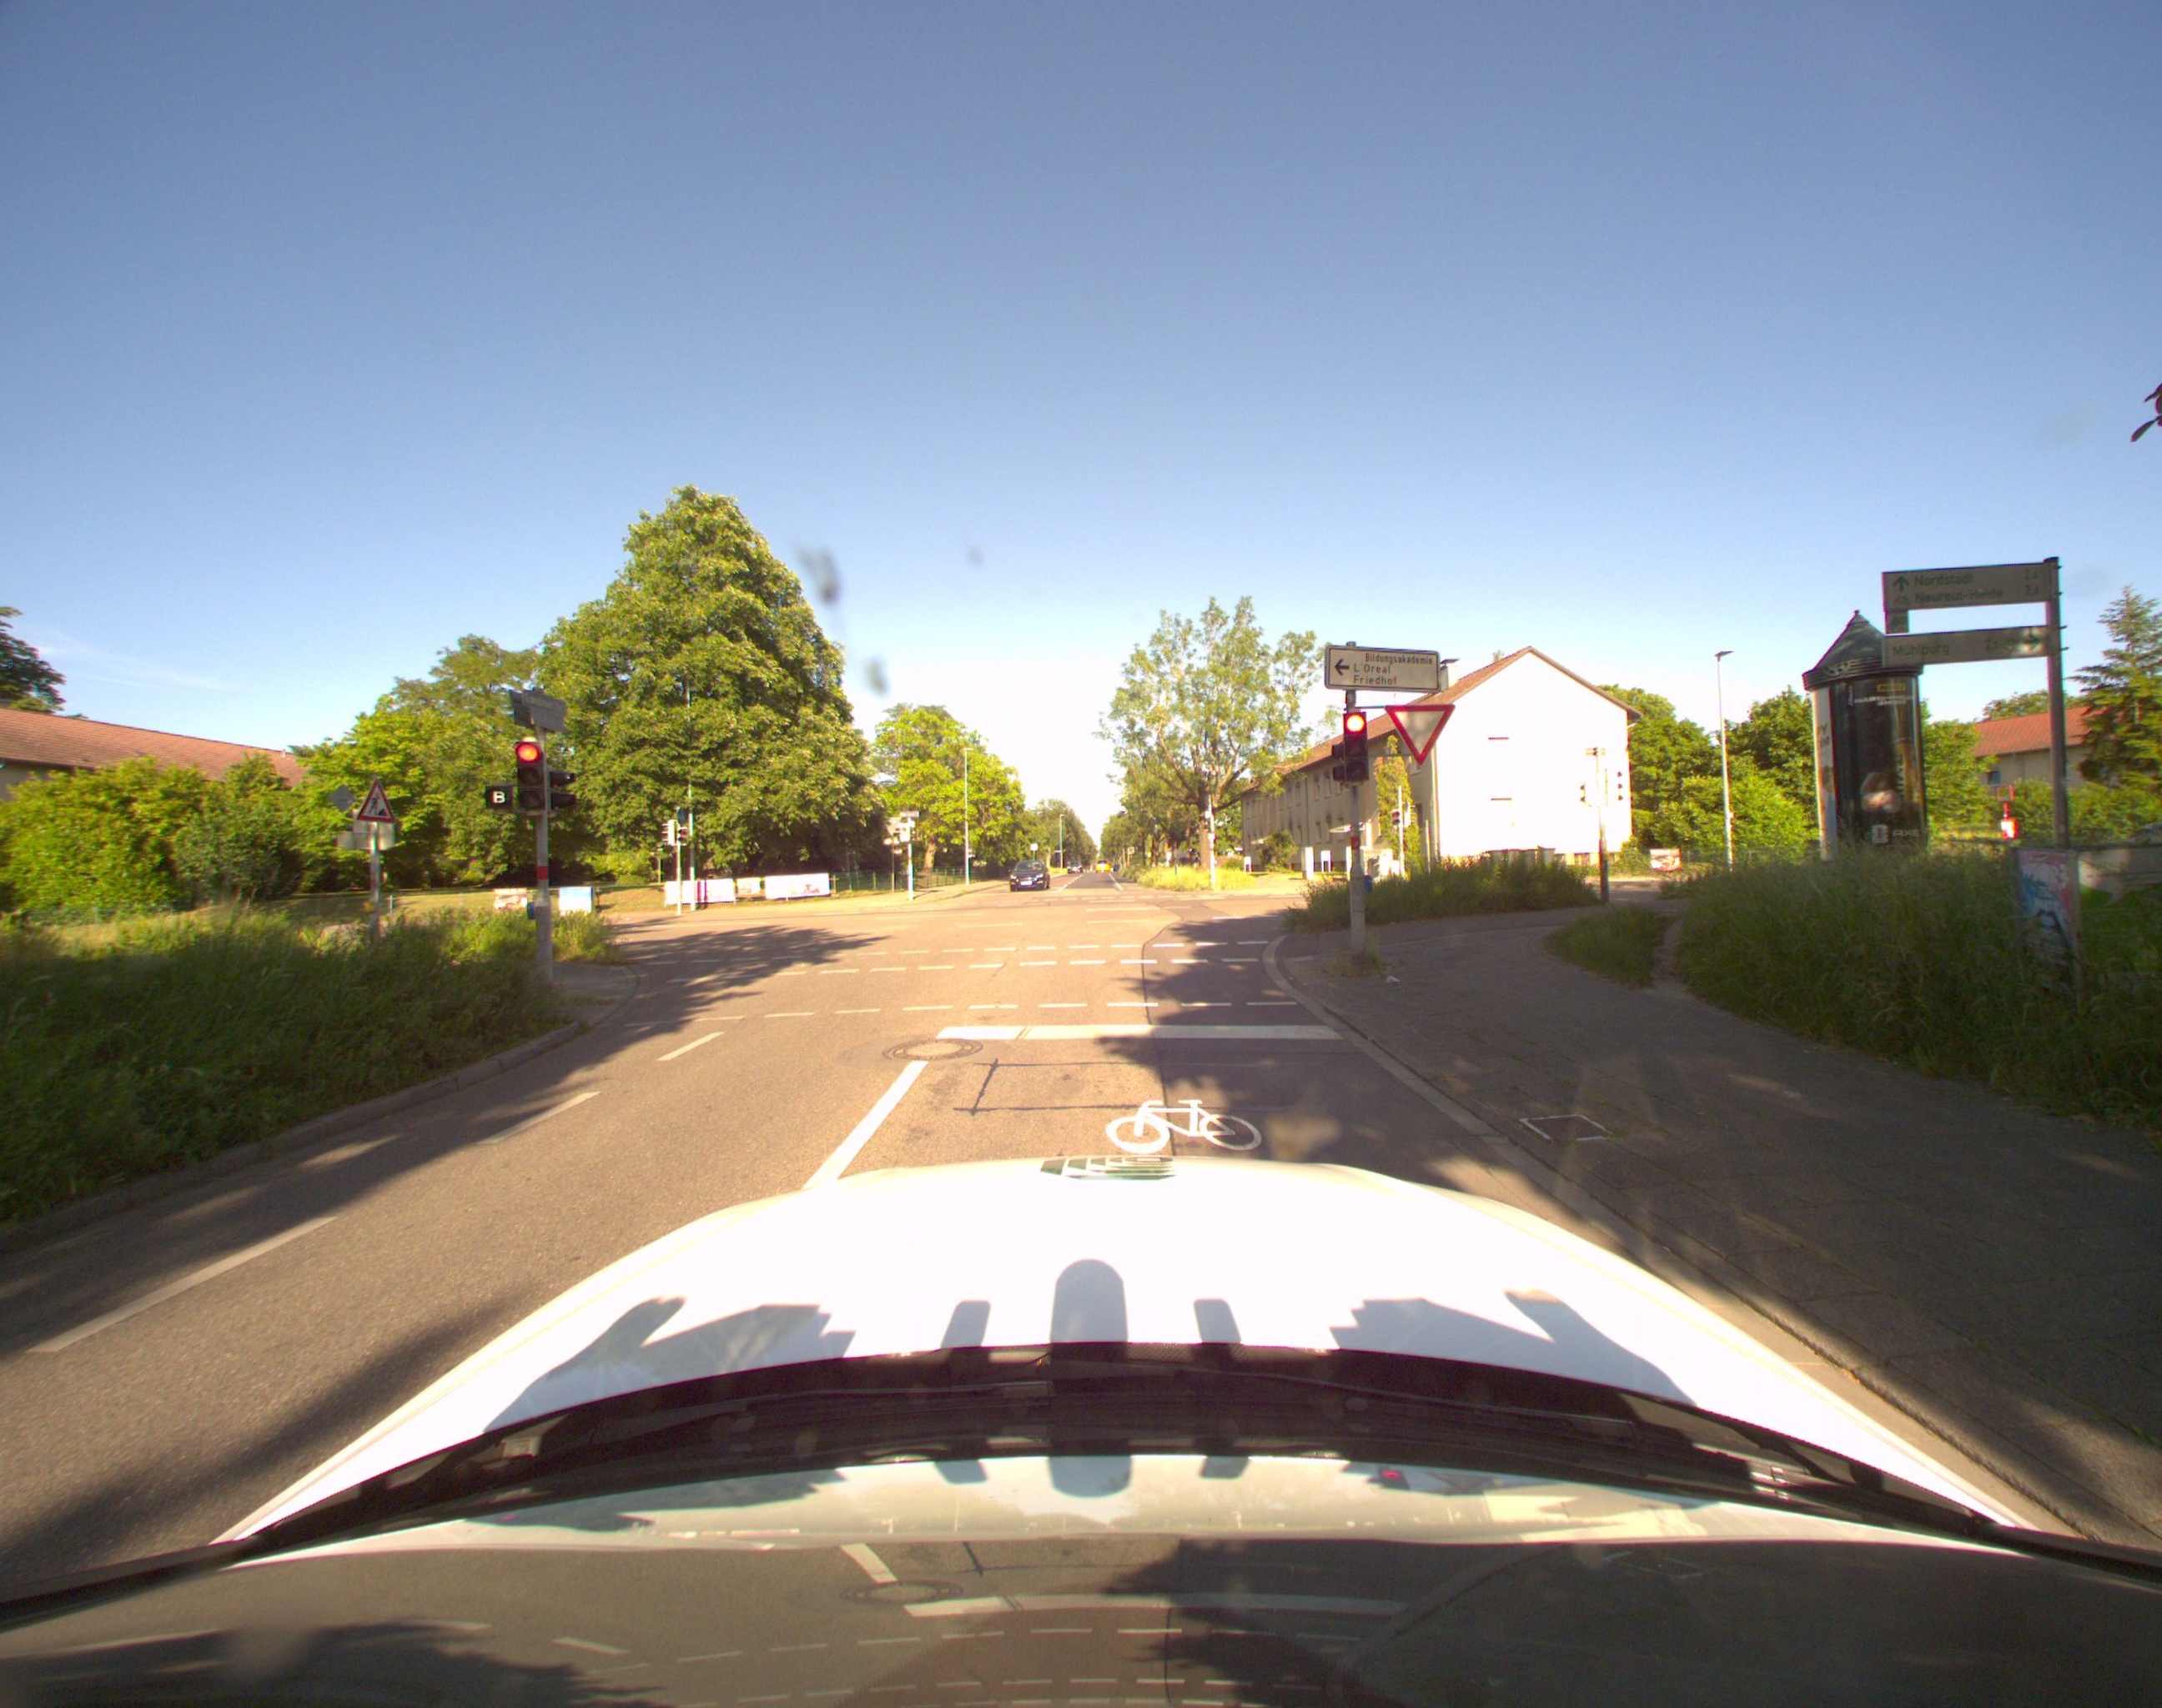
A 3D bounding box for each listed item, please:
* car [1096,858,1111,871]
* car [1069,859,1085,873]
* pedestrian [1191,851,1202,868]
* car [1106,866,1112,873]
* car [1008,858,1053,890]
[{"bbox_3d":[2.802,1.264,101.280,1.745,1.582,4.002,-1,-1,2],"label":"car"},{"bbox_3d":[-0.491,1.443,101.112,1.751,1.624,3.271,-2,0,3],"label":"car"},{"bbox_3d":[10.405,0.489,73.269,0.839,1.493,0.924,1,0,1],"label":"pedestrian"},{"bbox_3d":[7.568,4.166,219.289,1.766,1.754,4.002,-1,-1,2],"label":"car"},{"bbox_3d":[-2.373,0.919,38.826,1.704,1.385,3.473,-2,0,3],"label":"car"}]
